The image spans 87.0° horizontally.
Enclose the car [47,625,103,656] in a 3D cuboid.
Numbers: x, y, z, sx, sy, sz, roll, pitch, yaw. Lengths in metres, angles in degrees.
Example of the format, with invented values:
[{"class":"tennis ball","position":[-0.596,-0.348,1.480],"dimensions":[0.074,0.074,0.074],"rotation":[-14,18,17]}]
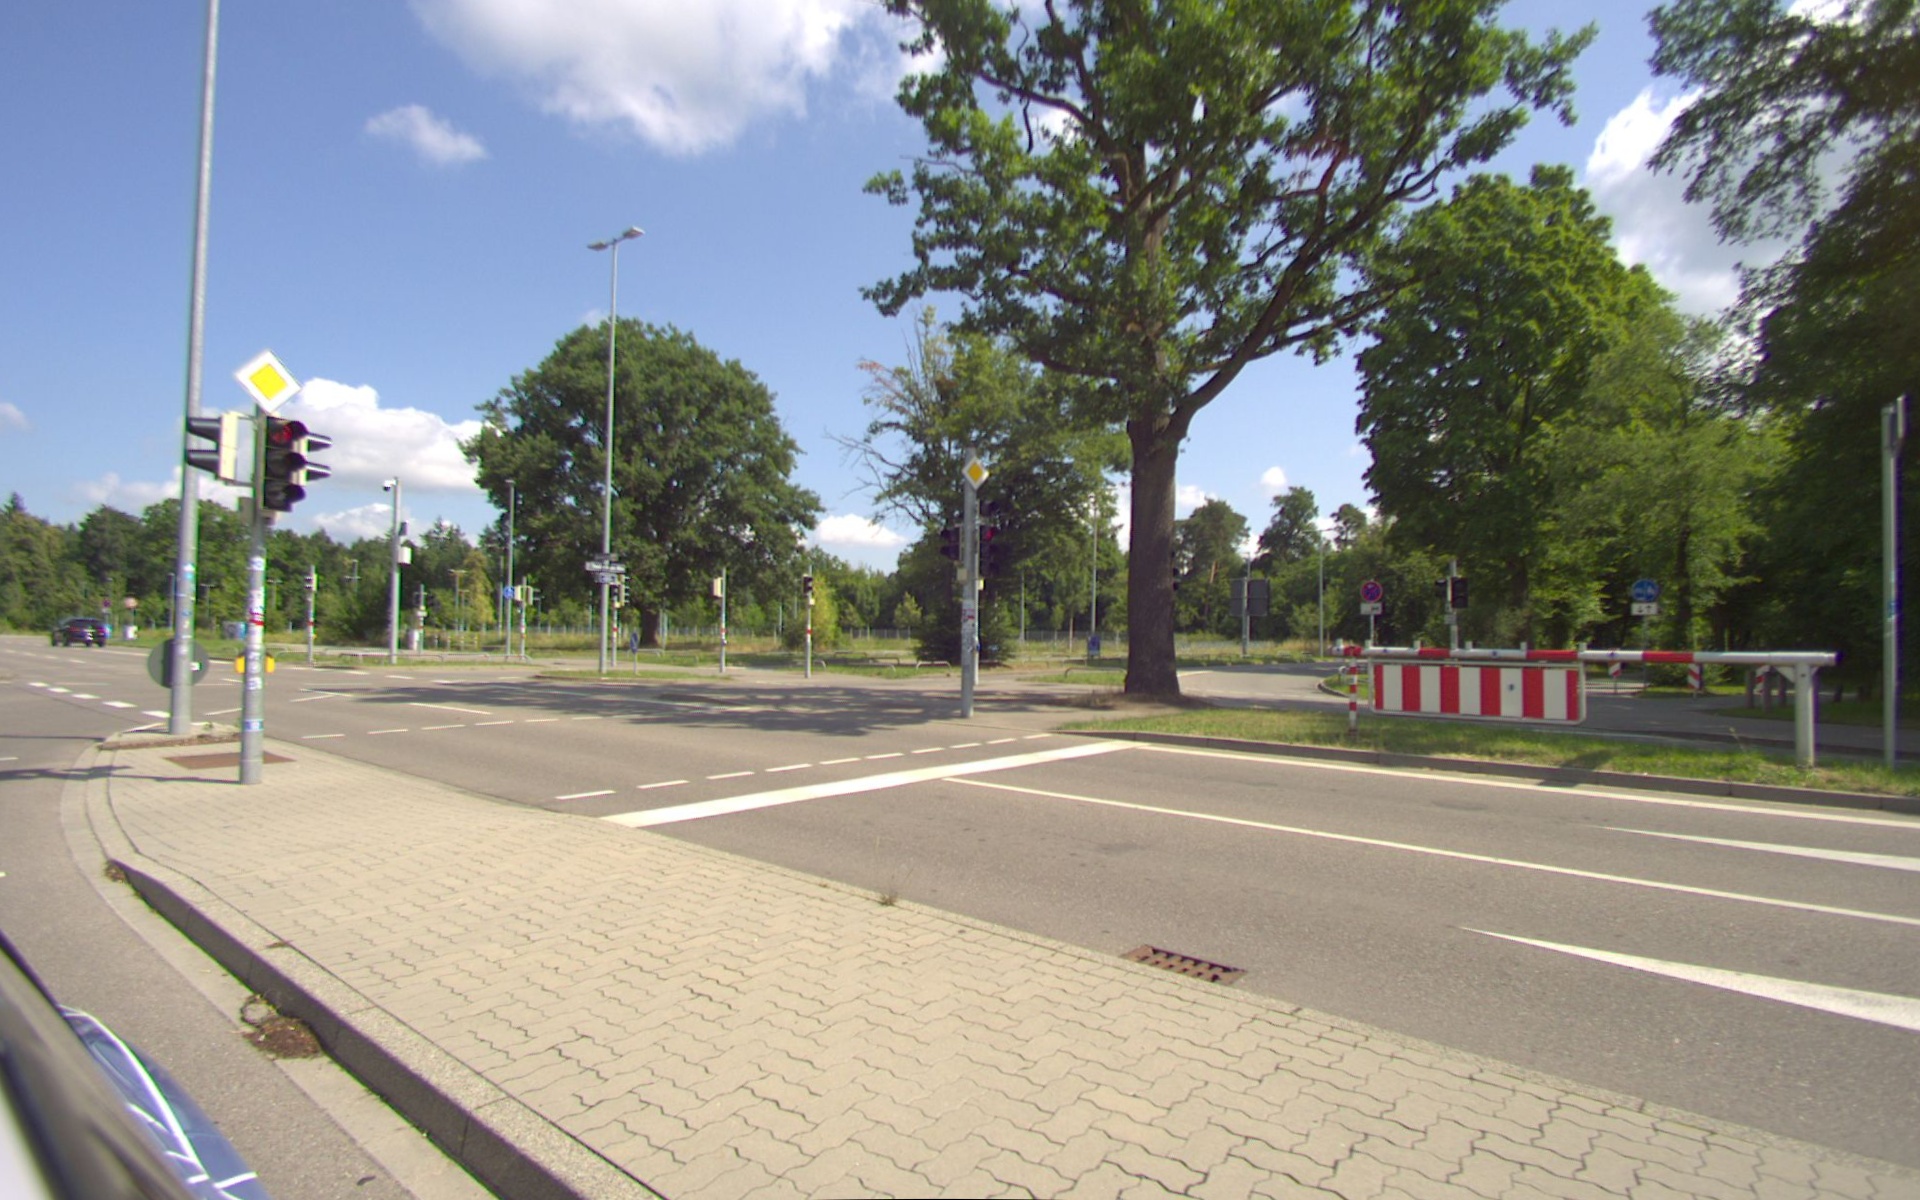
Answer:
[{"class":"car","position":[-52.919,2.434,60.497],"dimensions":[4.706,1.778,1.954],"rotation":[-2,-2,42]}]
